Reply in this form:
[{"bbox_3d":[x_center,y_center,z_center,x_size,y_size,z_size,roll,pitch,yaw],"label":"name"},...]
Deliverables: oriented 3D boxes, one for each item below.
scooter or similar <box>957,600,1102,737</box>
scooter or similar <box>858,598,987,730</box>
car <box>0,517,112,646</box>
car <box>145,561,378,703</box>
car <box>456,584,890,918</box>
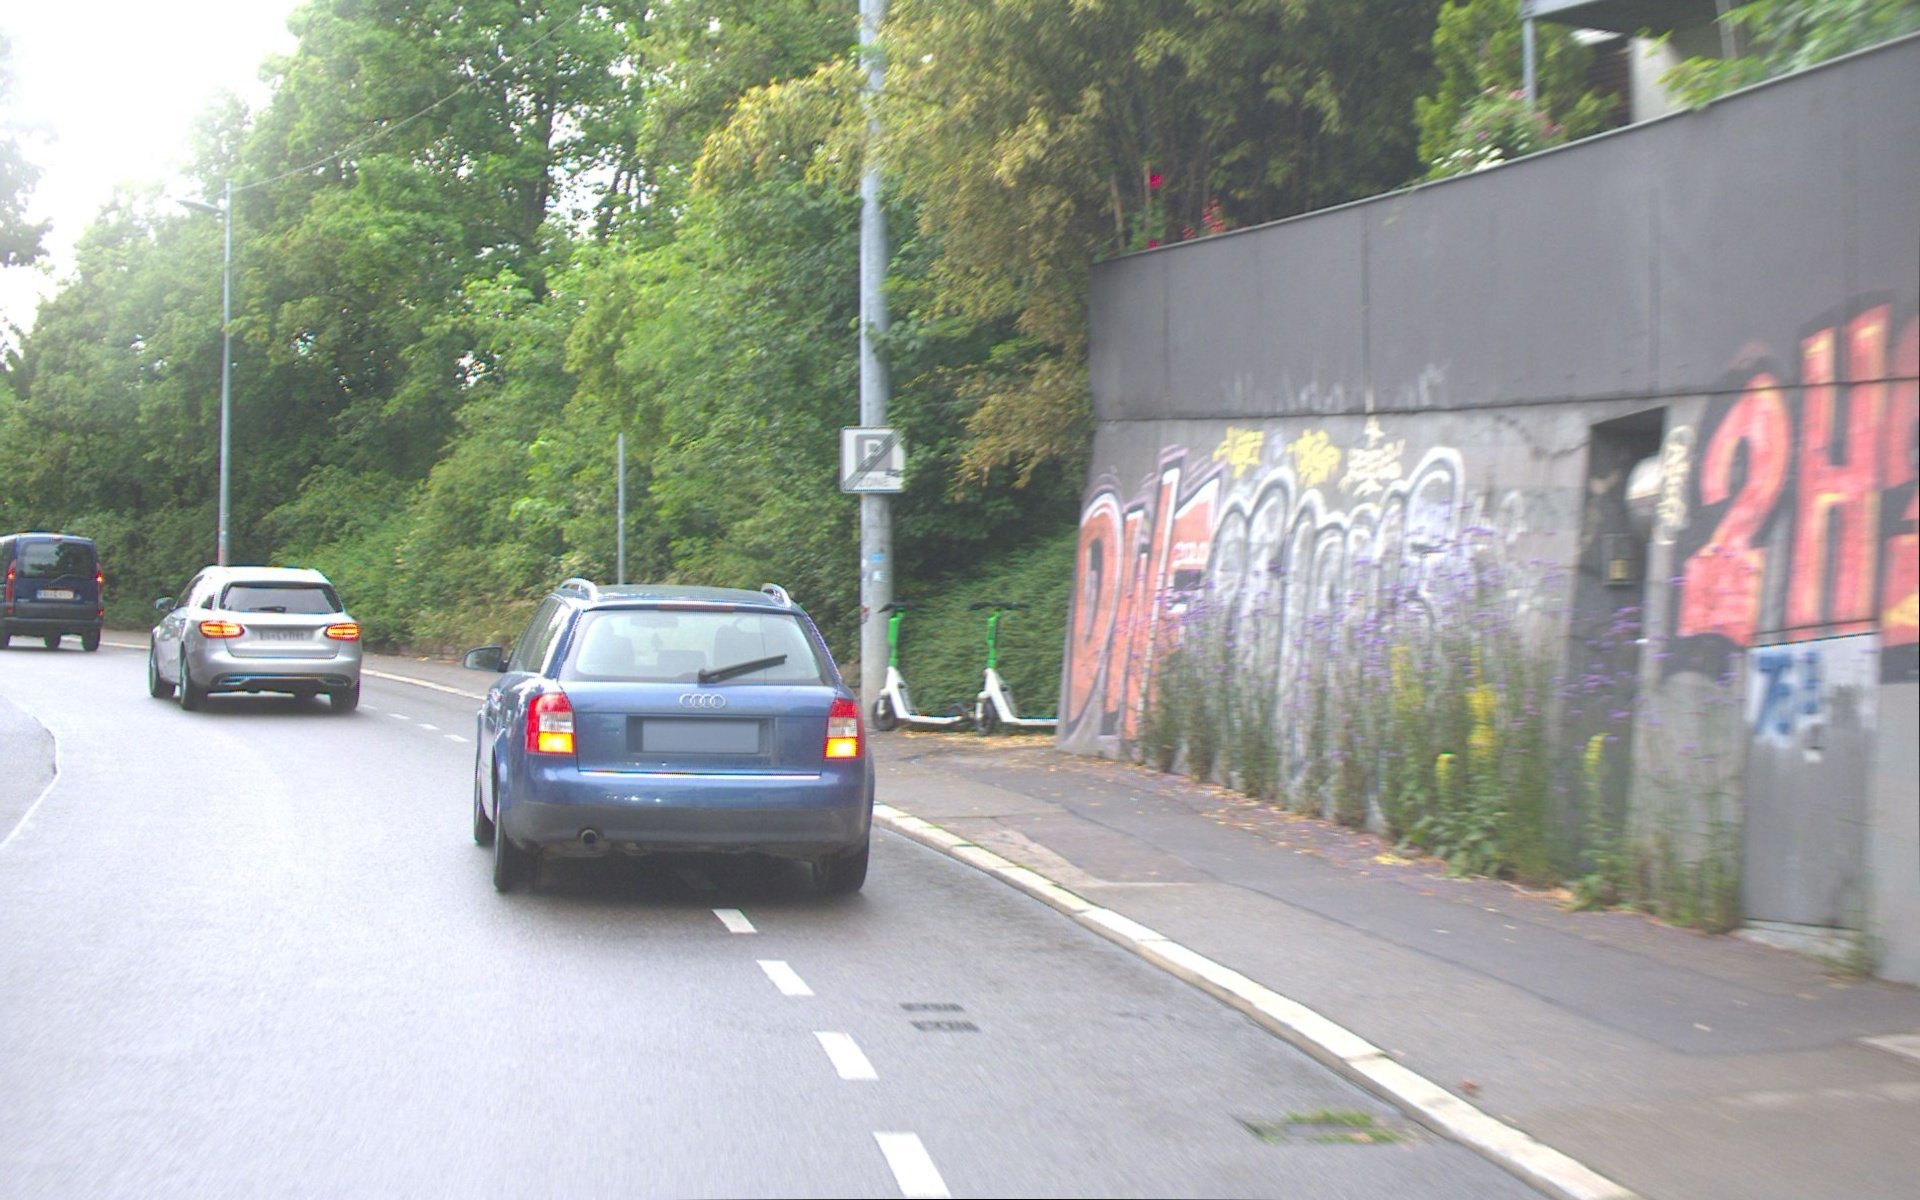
[{"bbox_3d":[0.580,0.573,29.100,0.346,1.113,1.422,2,0,-41],"label":"scooter or similar"},{"bbox_3d":[-0.340,0.554,30.251,0.346,1.113,1.422,2,0,-36],"label":"scooter or similar"},{"bbox_3d":[-14.968,-0.292,55.092,1.788,1.947,4.000,-2,1,-26],"label":"car"},{"bbox_3d":[-7.389,0.307,36.108,1.890,1.384,4.001,1,0,-19],"label":"car"},{"bbox_3d":[-1.535,0.658,16.989,1.746,1.403,4.001,1,0,-10],"label":"car"}]
